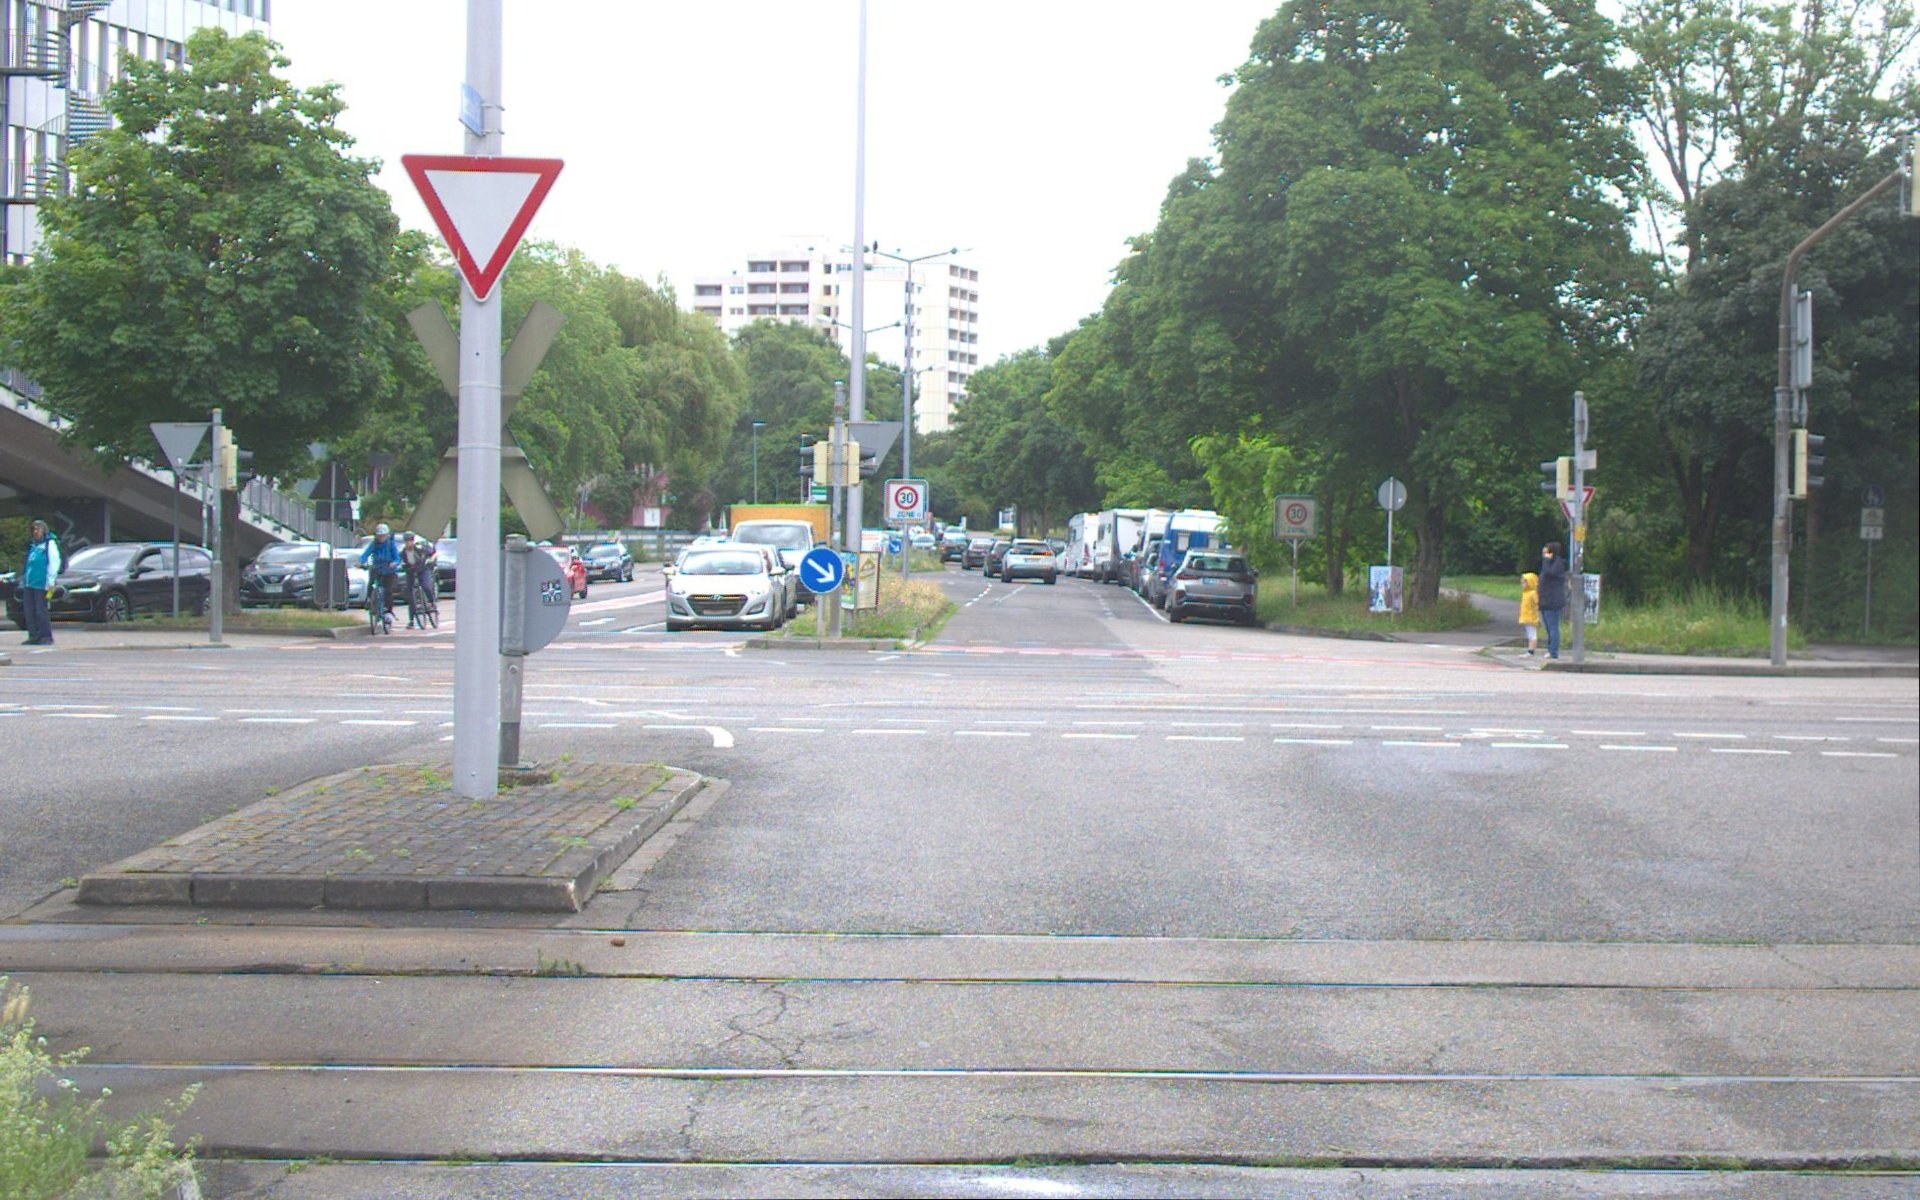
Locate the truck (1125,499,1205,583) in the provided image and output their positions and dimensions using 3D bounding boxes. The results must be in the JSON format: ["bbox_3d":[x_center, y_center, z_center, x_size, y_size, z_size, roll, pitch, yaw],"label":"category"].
[{"bbox_3d":[7.139,-2.056,120.090,1.993,2.828,5.732,1,1,-4],"label":"truck"}]

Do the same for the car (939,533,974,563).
[{"bbox_3d":[-0.193,-2.666,176.297,1.554,1.500,4.001,1,1,-3],"label":"car"}]

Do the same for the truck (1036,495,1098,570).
[{"bbox_3d":[4.430,-2.784,142.951,1.993,2.998,5.773,1,1,-4],"label":"truck"}]

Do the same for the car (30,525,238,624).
[{"bbox_3d":[-13.733,-0.445,57.377,1.673,1.546,3.997,1,1,14],"label":"car"}]

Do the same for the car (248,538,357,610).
[{"bbox_3d":[-14.829,-0.607,77.678,1.671,1.546,3.892,1,1,0],"label":"car"}]

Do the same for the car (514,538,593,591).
[{"bbox_3d":[-10.967,-0.954,92.843,1.512,1.385,3.532,1,1,3],"label":"car"}]

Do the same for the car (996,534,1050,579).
[{"bbox_3d":[2.487,-1.724,137.144,1.993,1.757,4.000,1,1,-1],"label":"car"}]

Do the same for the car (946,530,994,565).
[{"bbox_3d":[0.426,-2.354,152.572,2.020,1.500,4.000,1,1,-1],"label":"car"}]

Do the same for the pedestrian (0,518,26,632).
[{"bbox_3d":[-12.949,-0.339,45.840,0.917,1.505,0.404,1,1,-11],"label":"pedestrian"}]

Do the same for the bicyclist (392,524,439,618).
[{"bbox_3d":[-9.252,-0.496,58.423,0.679,1.589,0.695,1,0,-1],"label":"bicyclist"}]

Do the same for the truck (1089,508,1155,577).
[{"bbox_3d":[6.204,-2.179,132.163,1.993,2.564,5.379,1,1,-2],"label":"truck"}]

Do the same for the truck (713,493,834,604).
[{"bbox_3d":[-3.858,-1.101,71.993,2.155,2.191,5.840,1,1,0],"label":"truck"}]

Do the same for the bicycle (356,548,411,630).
[{"bbox_3d":[-9.291,-0.190,55.468,0.543,1.263,2.111,1,1,-1],"label":"bicycle"}]

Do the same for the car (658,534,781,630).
[{"bbox_3d":[-4.008,-0.337,57.913,1.789,1.514,4.326,1,1,-1],"label":"car"}]

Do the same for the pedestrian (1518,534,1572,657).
[{"bbox_3d":[8.373,-0.071,49.217,0.657,1.744,0.459,1,1,-1],"label":"pedestrian"}]

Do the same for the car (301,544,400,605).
[{"bbox_3d":[-14.724,-0.640,83.174,1.671,1.382,3.895,1,1,0],"label":"car"}]

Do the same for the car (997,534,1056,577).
[{"bbox_3d":[2.408,-1.655,125.955,2.020,1.500,4.000,1,1,-1],"label":"car"}]

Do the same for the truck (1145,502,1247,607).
[{"bbox_3d":[6.181,-1.189,90.748,2.174,2.647,6.247,0,1,-1],"label":"truck"}]

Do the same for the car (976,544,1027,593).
[{"bbox_3d":[1.707,-1.322,142.416,2.020,1.951,4.000,1,1,-1],"label":"car"}]

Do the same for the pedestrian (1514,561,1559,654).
[{"bbox_3d":[8.379,0.102,49.980,0.527,1.337,0.525,1,1,-1],"label":"pedestrian"}]

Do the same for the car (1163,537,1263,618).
[{"bbox_3d":[5.421,-0.503,73.956,1.784,1.656,4.000,1,1,-1],"label":"car"}]

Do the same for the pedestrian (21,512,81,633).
[{"bbox_3d":[-12.115,-0.367,45.823,0.687,1.599,0.488,1,1,-5],"label":"pedestrian"}]

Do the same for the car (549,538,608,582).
[{"bbox_3d":[-13.943,-1.469,125.777,1.671,1.546,4.000,1,1,0],"label":"car"}]

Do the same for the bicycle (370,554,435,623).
[{"bbox_3d":[-9.337,-0.208,57.672,0.726,1.097,2.264,1,1,-1],"label":"bicycle"}]

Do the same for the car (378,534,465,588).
[{"bbox_3d":[-14.537,-1.077,92.956,1.763,1.390,4.000,1,1,-1],"label":"car"}]

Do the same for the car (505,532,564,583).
[{"bbox_3d":[-13.401,-1.364,108.402,1.444,1.546,3.664,1,1,-1],"label":"car"}]

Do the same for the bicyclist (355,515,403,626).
[{"bbox_3d":[-9.297,-0.480,55.022,0.644,1.762,0.647,1,1,-1],"label":"bicyclist"}]
